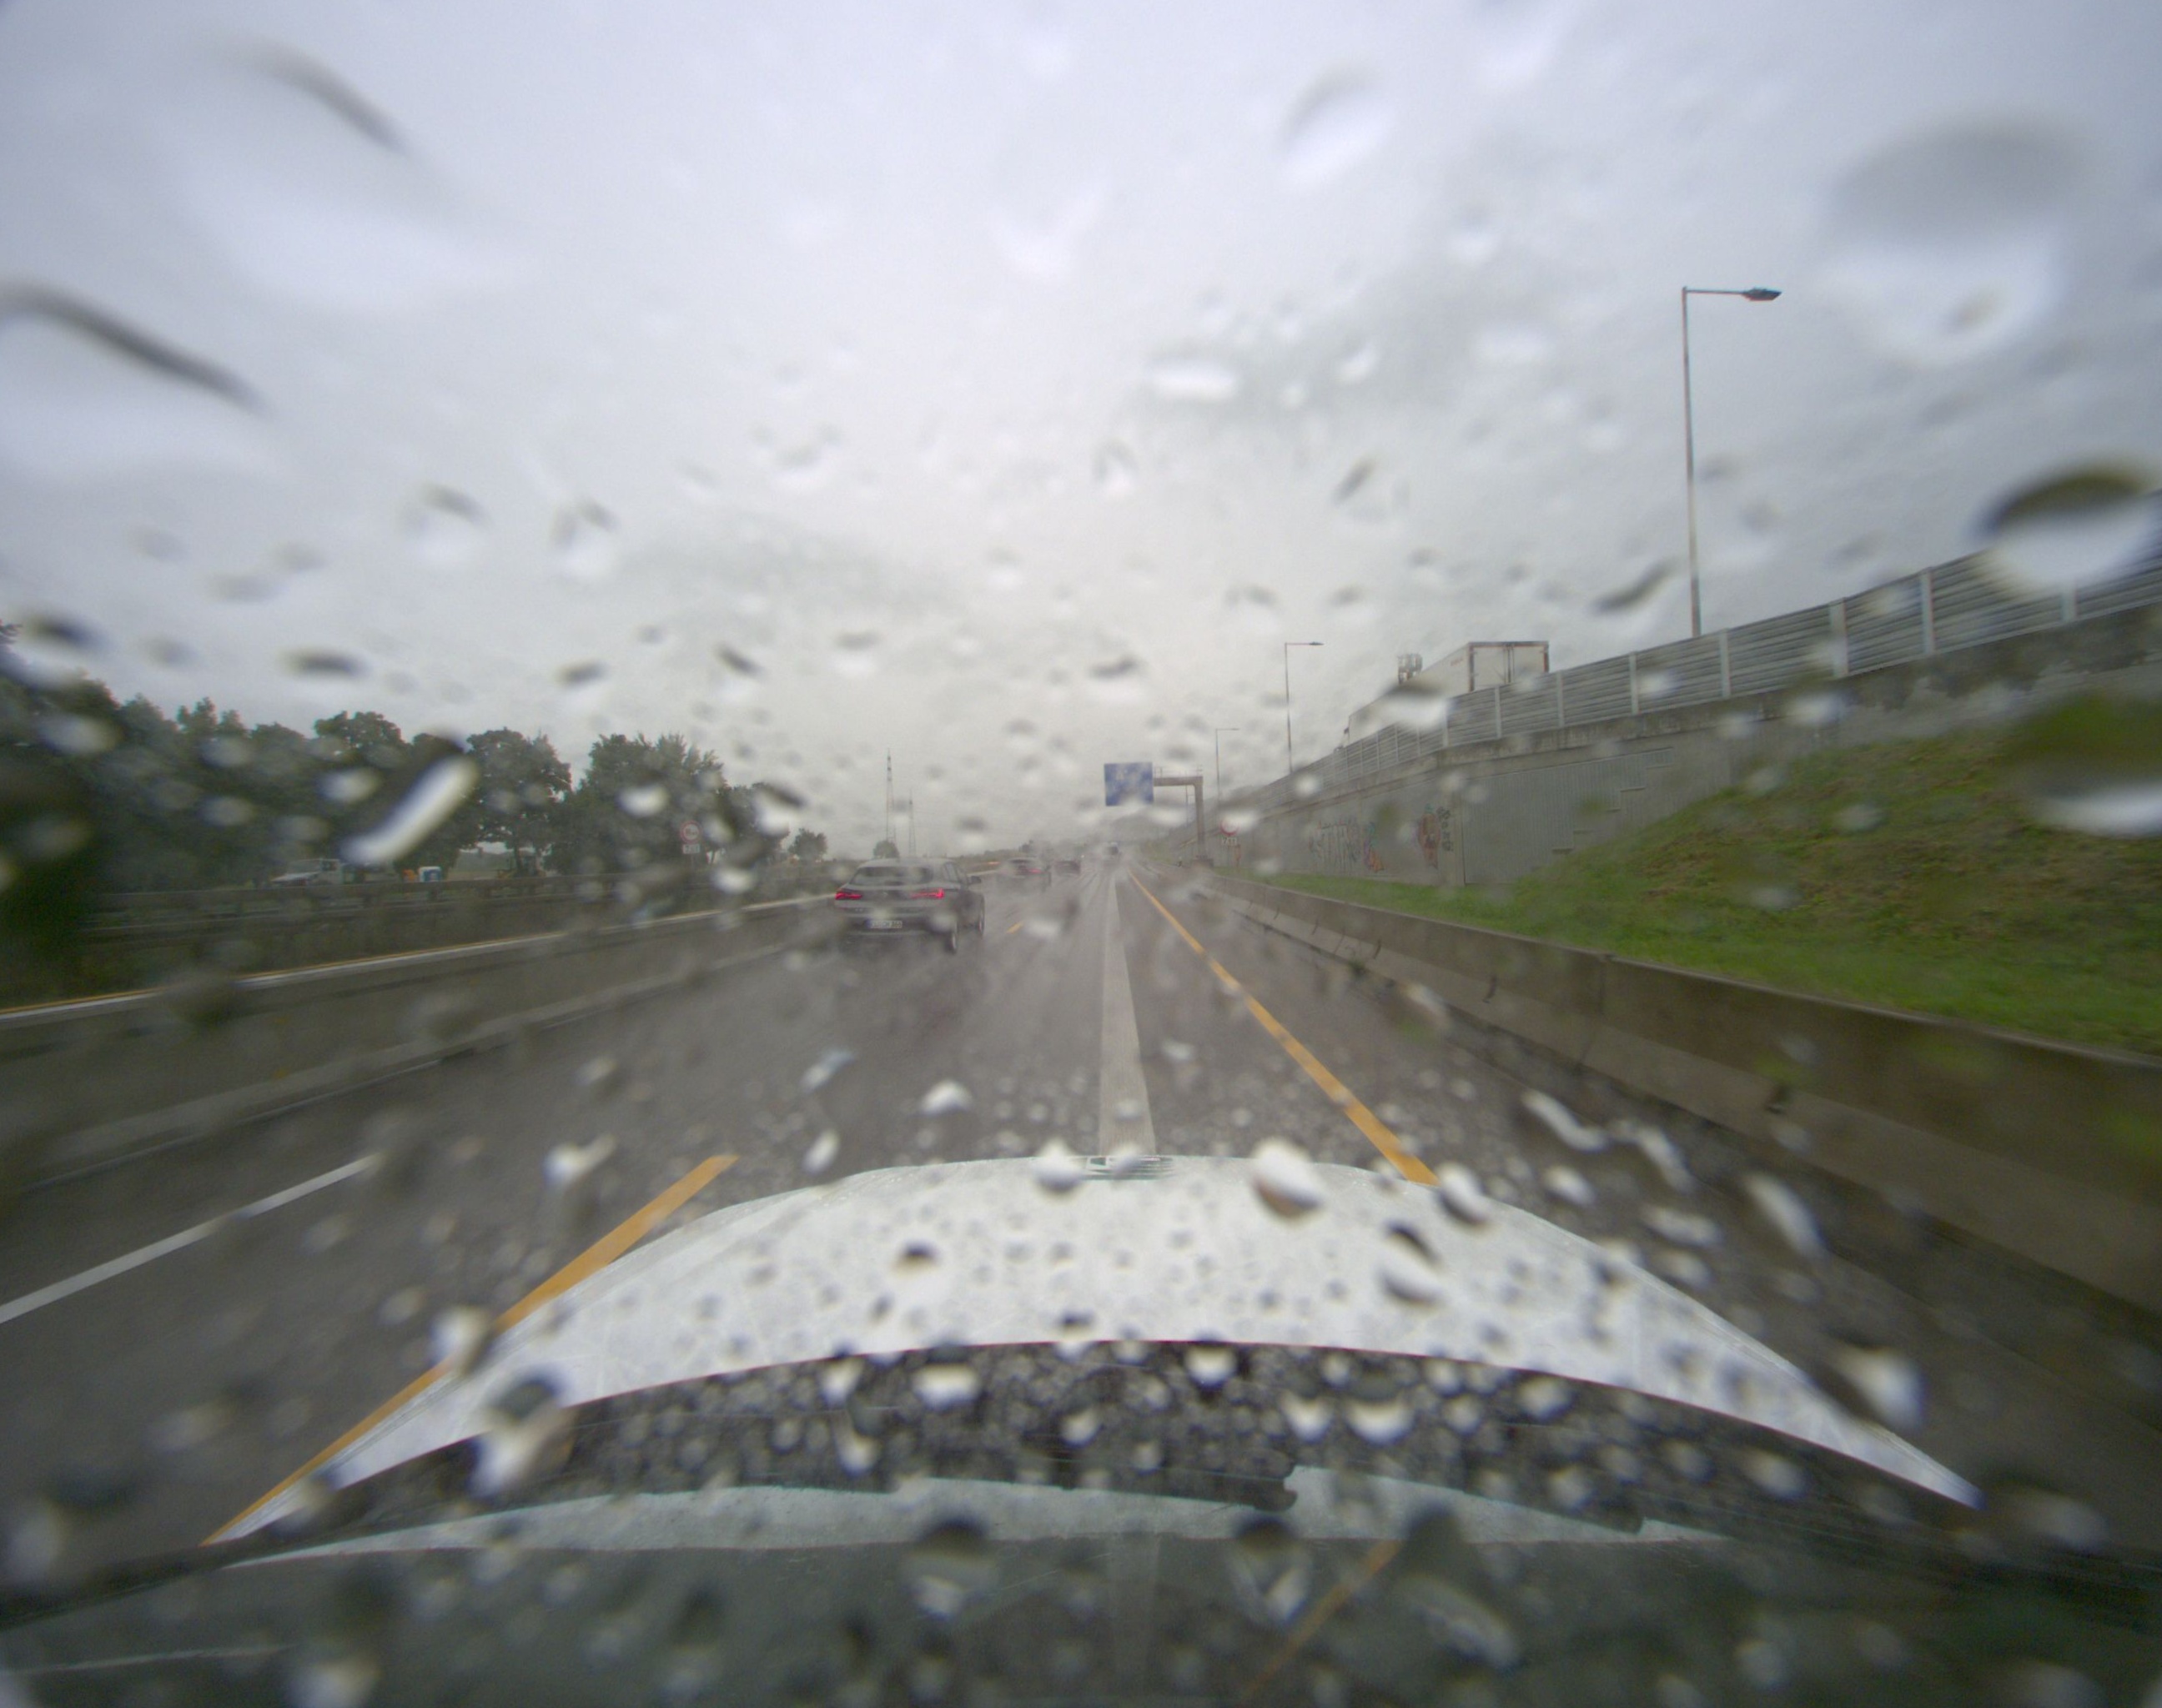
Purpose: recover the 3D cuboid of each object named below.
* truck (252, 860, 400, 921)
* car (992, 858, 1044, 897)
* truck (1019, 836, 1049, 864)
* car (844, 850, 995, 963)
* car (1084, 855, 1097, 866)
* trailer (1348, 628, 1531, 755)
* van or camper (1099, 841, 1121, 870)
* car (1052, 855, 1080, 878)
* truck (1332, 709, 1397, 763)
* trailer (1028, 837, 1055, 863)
[{"bbox_3d":[-42.879,2.028,46.534,2.601,3.213,5.876,-1,-1,5],"label":"truck"},{"bbox_3d":[-2.519,0.945,33.412,1.839,1.491,4.259,-1,-1,-1],"label":"car"},{"bbox_3d":[-5.767,-0.494,101.711,2.629,3.347,9.559,-1,0,3],"label":"truck"},{"bbox_3d":[-2.567,0.802,14.094,1.696,1.598,4.842,-1,-1,-1],"label":"car"},{"bbox_3d":[1.361,0.922,118.804,1.563,1.480,2.818,-4,-2,-3],"label":"car"},{"bbox_3d":[13.858,-6.085,33.233,1.985,2.106,13.776,-1,-1,3],"label":"trailer"},{"bbox_3d":[2.874,0.180,81.534,1.990,2.777,4.047,-1,-1,-1],"label":"van or camper"},{"bbox_3d":[-1.070,0.892,58.859,1.839,1.491,4.260,-4,0,-1],"label":"car"},{"bbox_3d":[14.192,-5.869,40.966,1.985,2.014,4.061,-1,-1,3],"label":"truck"},{"bbox_3d":[-5.348,-0.543,111.314,2.651,3.362,9.721,-1,0,3],"label":"trailer"}]
